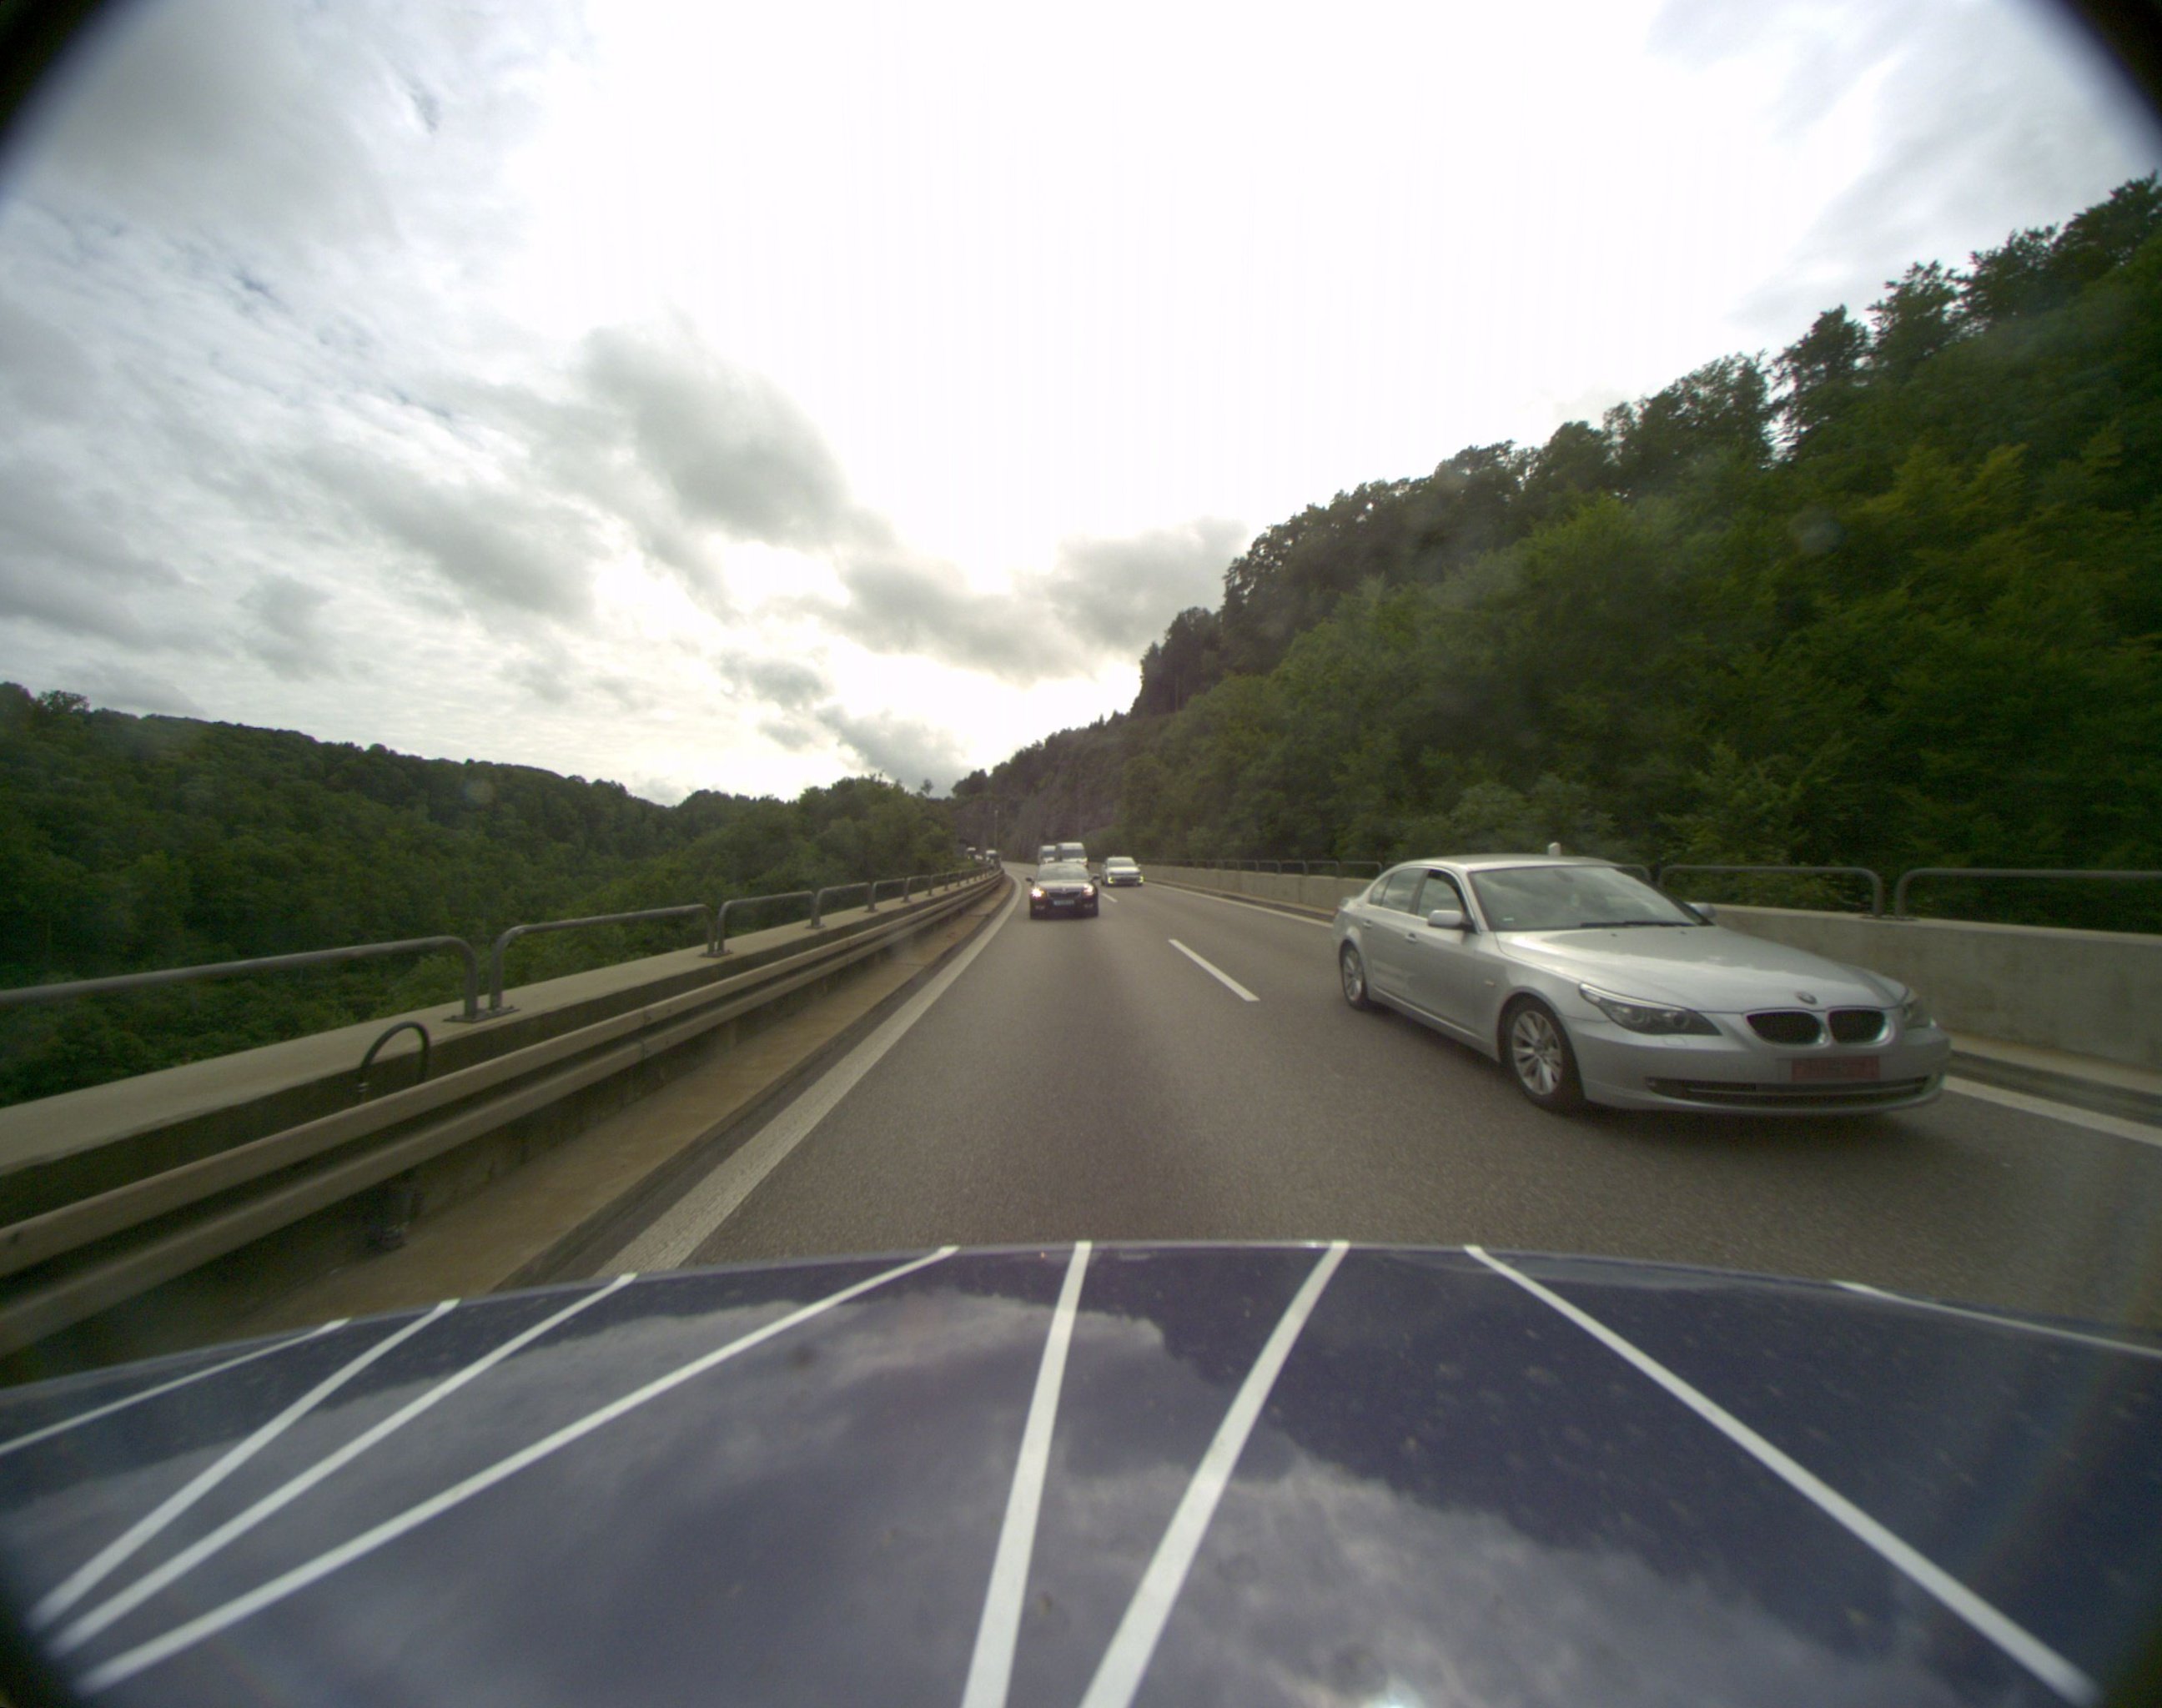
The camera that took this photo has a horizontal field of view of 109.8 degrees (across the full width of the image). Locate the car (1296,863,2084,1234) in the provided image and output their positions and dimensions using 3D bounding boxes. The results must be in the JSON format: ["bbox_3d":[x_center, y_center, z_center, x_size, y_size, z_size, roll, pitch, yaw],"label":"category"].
[{"bbox_3d":[3.383,0.870,5.856,1.833,1.448,5.134,-2,0,-2],"label":"car"}]

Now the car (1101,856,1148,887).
[{"bbox_3d":[2.151,0.854,38.903,1.923,1.452,4.229,-2,0,-3],"label":"car"}]

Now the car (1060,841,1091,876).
[{"bbox_3d":[-0.459,0.265,58.982,1.869,2.444,4.979,-2,2,-5],"label":"car"}]

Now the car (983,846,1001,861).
[{"bbox_3d":[-15.378,-0.129,130.935,2.676,2.408,6.115,-2,0,-10],"label":"car"}]

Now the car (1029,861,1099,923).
[{"bbox_3d":[-0.485,0.948,20.923,1.677,1.419,4.471,-2,0,-2],"label":"car"}]

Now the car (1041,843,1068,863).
[{"bbox_3d":[-2.885,-0.099,80.824,2.231,2.061,5.620,-2,0,-8],"label":"car"}]
